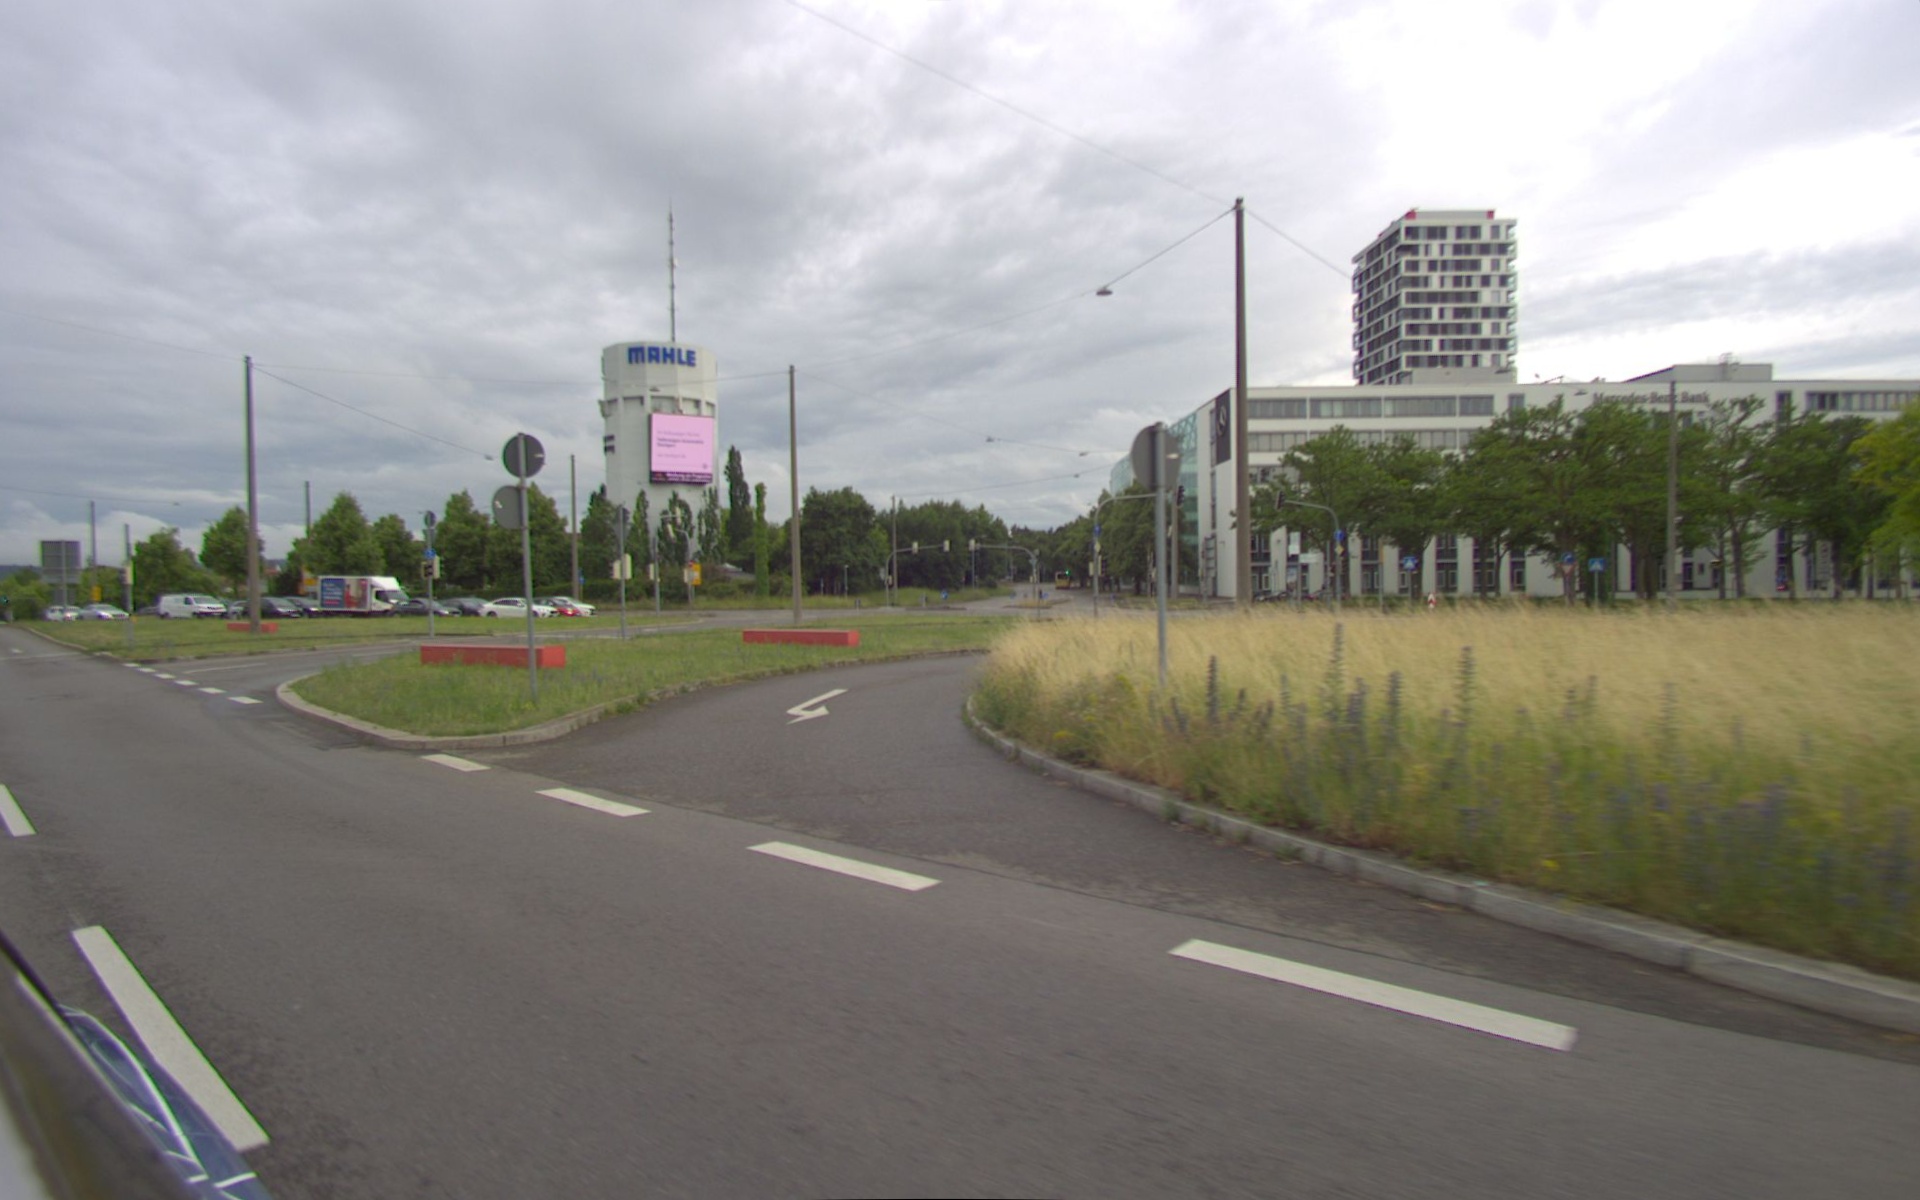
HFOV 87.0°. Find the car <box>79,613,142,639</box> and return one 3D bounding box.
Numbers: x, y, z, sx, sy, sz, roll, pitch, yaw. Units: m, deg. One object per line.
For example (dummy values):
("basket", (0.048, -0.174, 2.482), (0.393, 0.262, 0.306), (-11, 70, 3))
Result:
("car", (-64.972, 1.981, 77.381), (5.149, 1.814, 1.980), (-2, 2, 30))

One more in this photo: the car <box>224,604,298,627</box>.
("car", (-47.857, 1.040, 69.282), (4.499, 1.320, 1.986), (-2, 2, 22))

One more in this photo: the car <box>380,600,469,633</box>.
("car", (-32.048, 0.984, 60.612), (4.478, 1.695, 1.991), (-2, 2, 15))

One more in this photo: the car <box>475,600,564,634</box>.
("car", (-26.165, 1.019, 60.180), (4.468, 1.695, 1.995), (-3, 2, 8))

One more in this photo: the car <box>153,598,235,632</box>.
("car", (-54.590, 1.068, 72.130), (5.276, 2.197, 2.356), (-2, 2, 24))

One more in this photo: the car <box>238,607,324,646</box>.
("car", (-42.845, 1.686, 63.846), (5.139, 2.197, 1.984), (-2, 2, 25))

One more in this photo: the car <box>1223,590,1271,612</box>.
("car", (25.488, 0.034, 89.911), (3.650, 1.688, 1.906), (-4, 2, -24))

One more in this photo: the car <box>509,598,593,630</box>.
("car", (-25.813, 0.893, 63.970), (4.463, 1.695, 1.998), (-3, 2, 5))

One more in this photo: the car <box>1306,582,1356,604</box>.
("car", (32.833, -0.600, 89.559), (3.650, 1.688, 1.906), (-4, 2, -17))

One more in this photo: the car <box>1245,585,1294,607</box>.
("car", (26.511, -0.360, 86.716), (3.650, 1.688, 1.906), (-4, 2, -24))

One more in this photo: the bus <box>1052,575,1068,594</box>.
("bus", (19.118, -2.998, 194.423), (2.824, 3.351, 8.876), (-3, 2, 5))

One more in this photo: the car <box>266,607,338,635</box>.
("car", (-46.781, 1.484, 71.996), (4.489, 1.695, 1.986), (-2, 2, 22))

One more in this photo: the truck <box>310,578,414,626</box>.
("truck", (-39.233, 0.121, 66.436), (5.971, 2.855, 2.123), (-2, 2, 13))

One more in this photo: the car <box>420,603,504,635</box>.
("car", (-31.791, 1.203, 64.628), (4.474, 1.695, 1.993), (-2, 2, 12))

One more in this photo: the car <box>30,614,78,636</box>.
("car", (-83.171, 2.338, 92.933), (3.981, 1.796, 1.982), (-2, 2, 28))

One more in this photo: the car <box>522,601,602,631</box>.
("car", (-26.237, 1.035, 66.758), (4.464, 1.695, 1.997), (-3, 2, 6))
